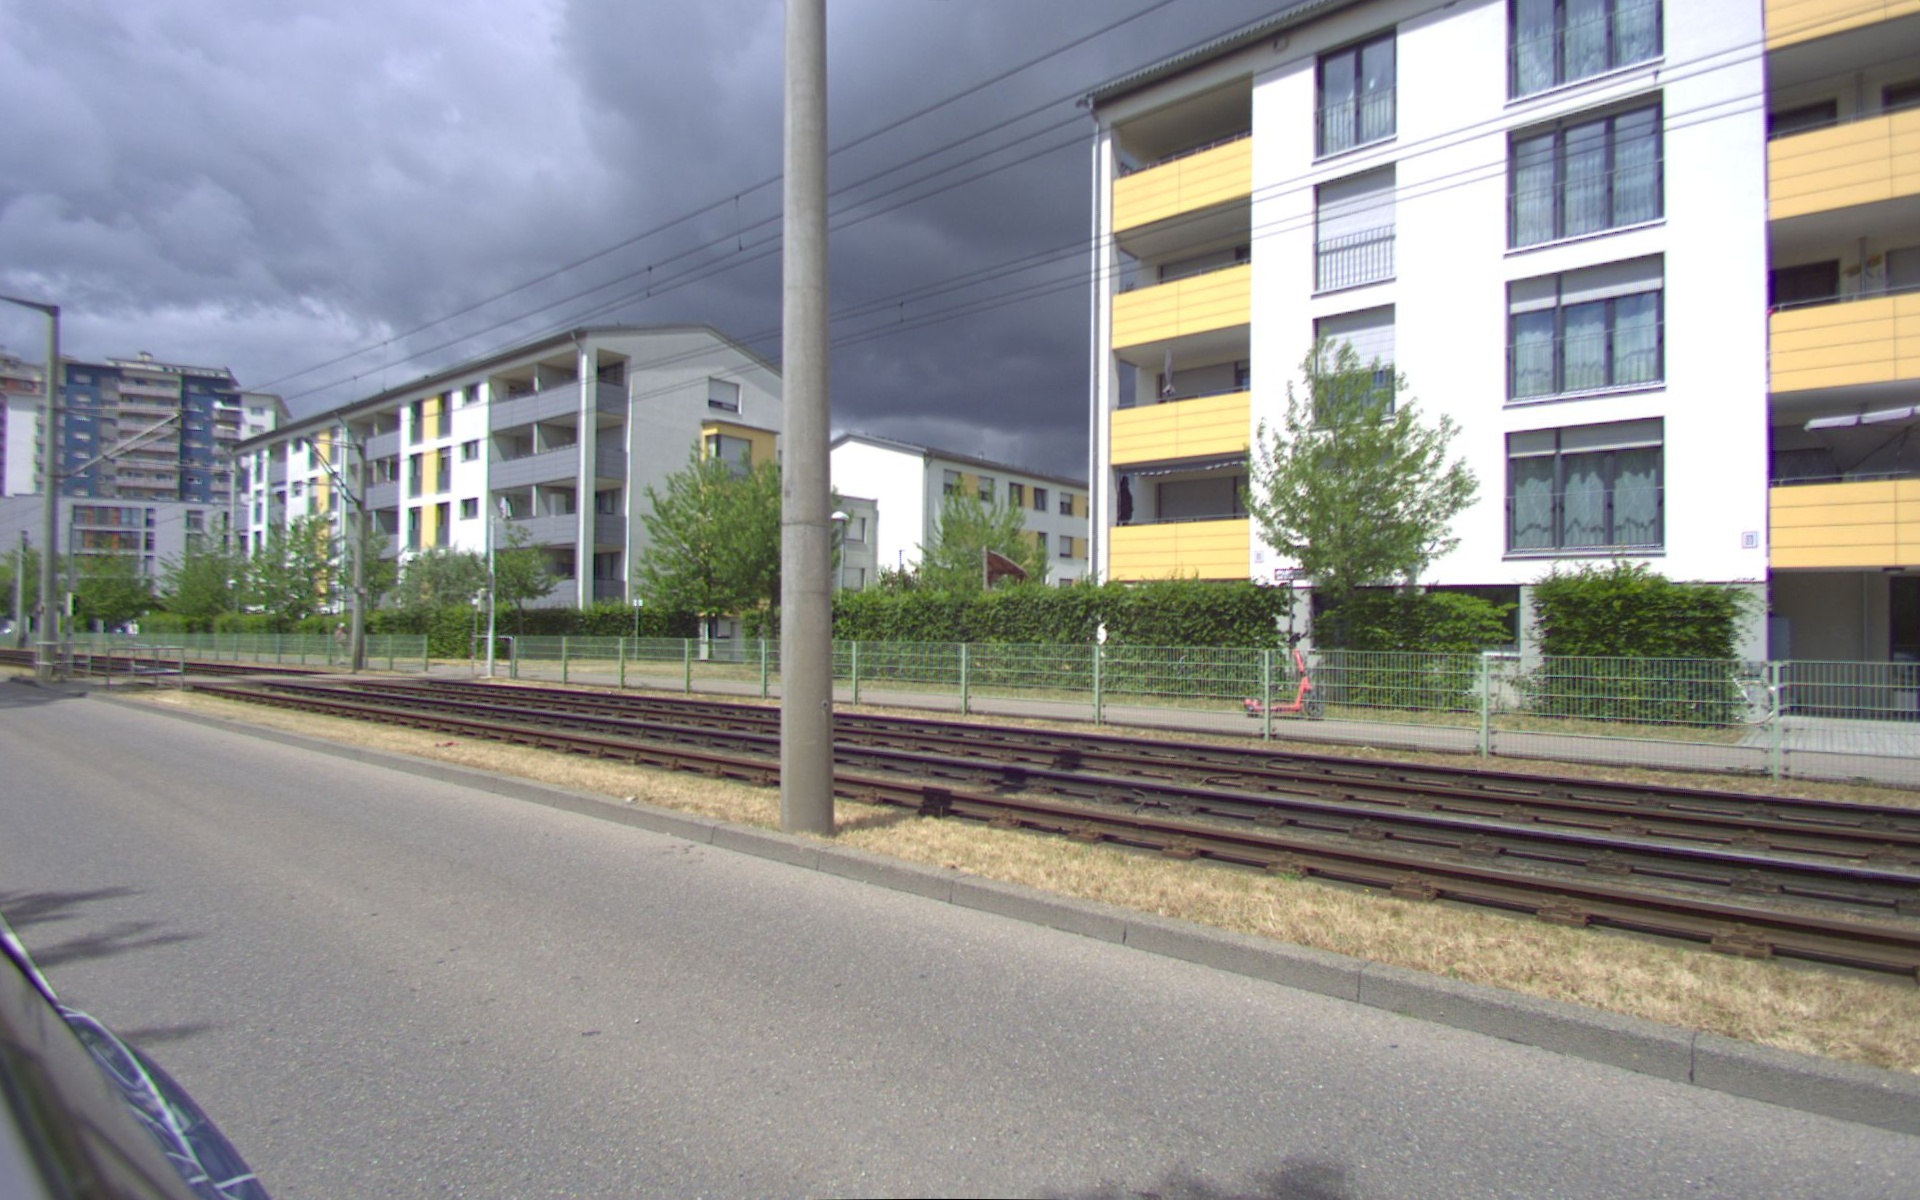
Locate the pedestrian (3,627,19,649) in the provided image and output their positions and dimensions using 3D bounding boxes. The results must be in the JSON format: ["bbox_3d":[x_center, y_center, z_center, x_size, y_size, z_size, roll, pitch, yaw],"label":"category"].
[{"bbox_3d":[-72.006,2.872,76.803,0.936,1.625,0.747,-2,-2,38],"label":"pedestrian"}]

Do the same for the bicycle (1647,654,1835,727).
[{"bbox_3d":[11.804,1.345,15.360,2.212,0.987,0.549,-2,-2,42],"label":"bicycle"}]

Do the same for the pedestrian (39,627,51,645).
[{"bbox_3d":[-87.590,3.461,96.887,0.537,1.666,0.740,-2,-2,38],"label":"pedestrian"}]

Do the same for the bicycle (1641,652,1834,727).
[{"bbox_3d":[11.455,1.287,14.981,2.212,0.987,0.549,-2,-2,42],"label":"bicycle"}]

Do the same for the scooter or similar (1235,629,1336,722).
[{"bbox_3d":[4.743,1.074,14.786,1.301,1.303,0.485,-2,-2,41],"label":"scooter or similar"}]

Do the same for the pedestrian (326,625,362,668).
[{"bbox_3d":[-21.839,1.641,35.855,0.994,1.494,0.788,-2,-2,38],"label":"pedestrian"}]
